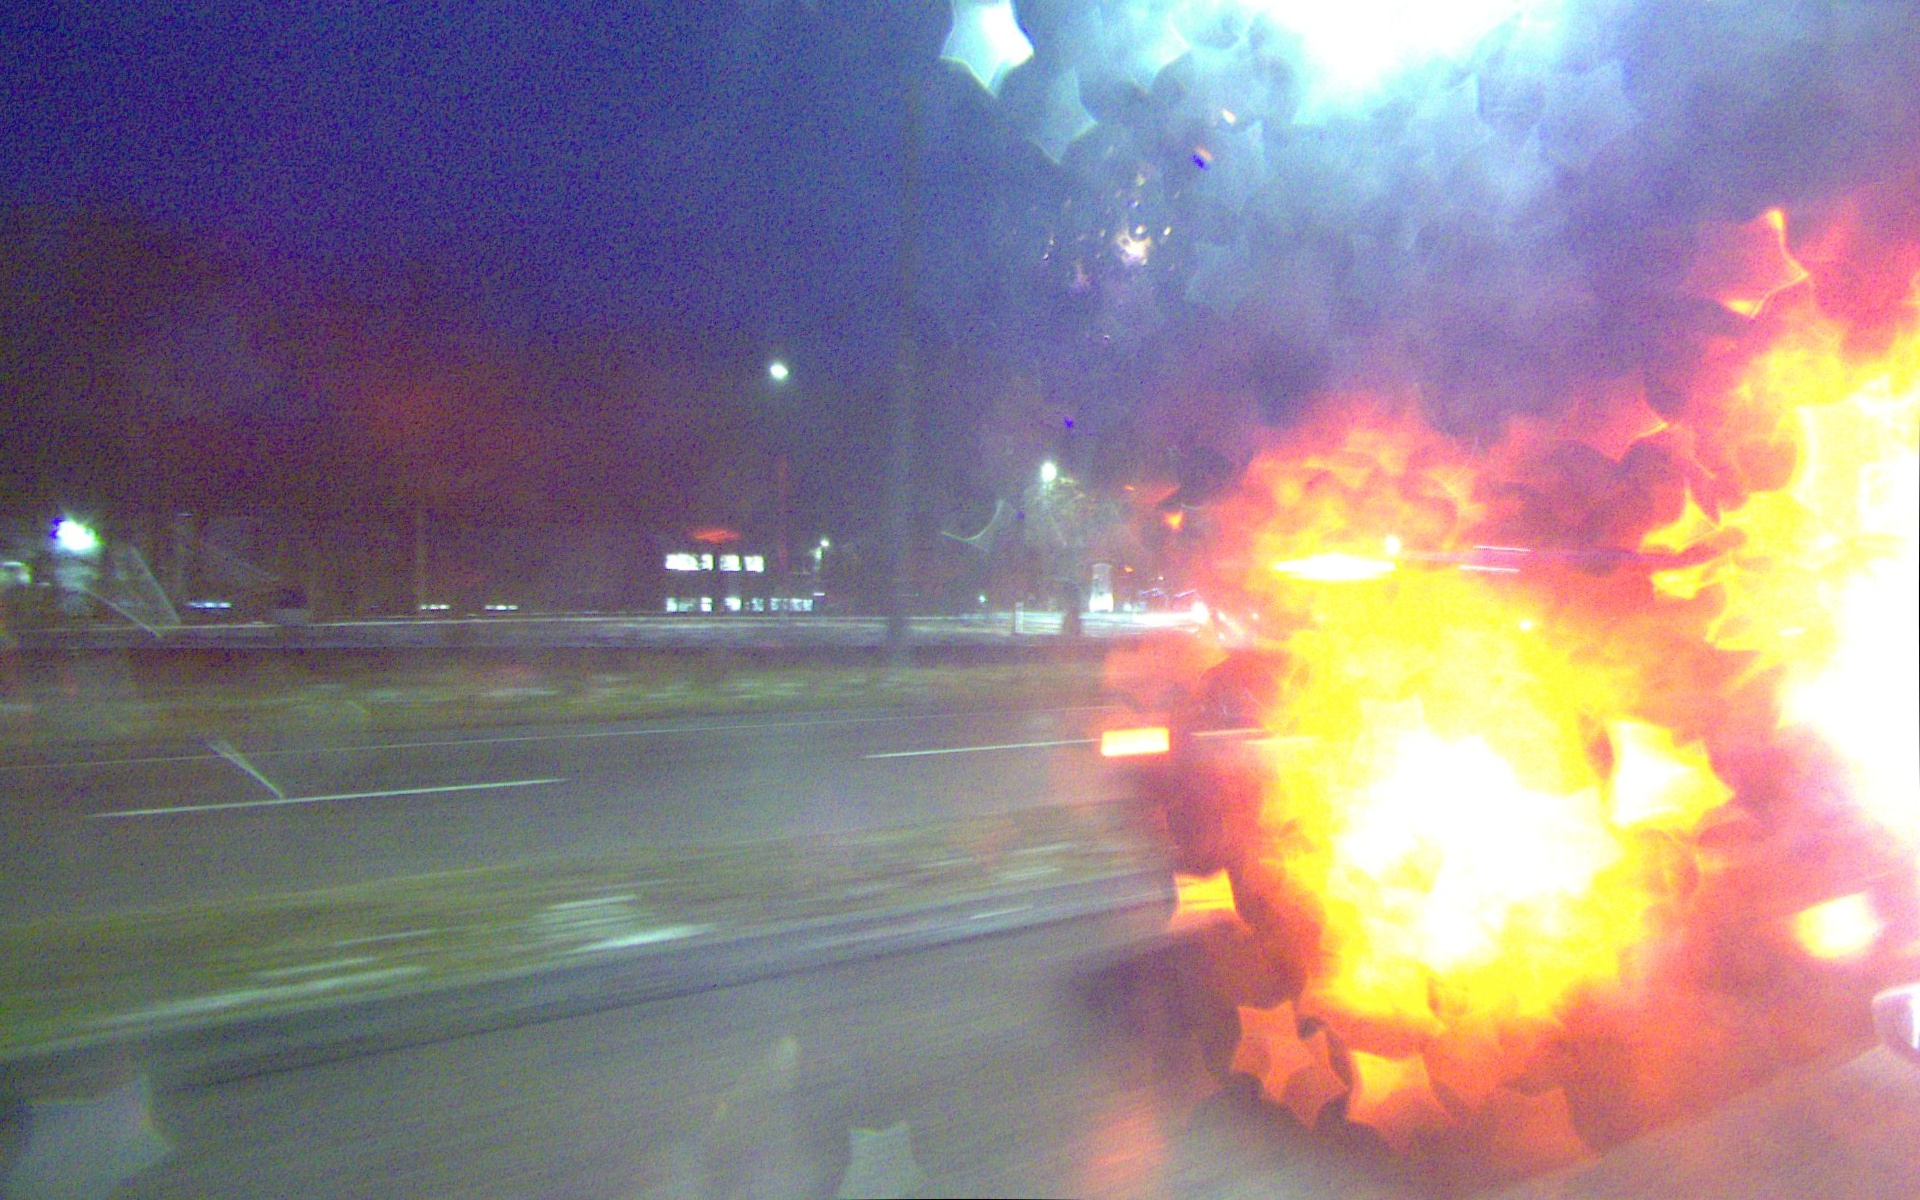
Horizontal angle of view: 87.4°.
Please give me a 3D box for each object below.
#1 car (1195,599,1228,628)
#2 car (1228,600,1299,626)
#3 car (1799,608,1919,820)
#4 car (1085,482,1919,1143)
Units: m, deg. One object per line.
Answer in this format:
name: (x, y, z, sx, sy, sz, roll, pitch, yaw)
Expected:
car: (14.433, 0.726, 57.549, 1.486, 1.538, 4.374, 2, 1, 18)
car: (18.746, 0.808, 62.112, 3.938, 1.539, 1.719, 1, 1, -20)
car: (8.922, 0.858, 8.263, 4.385, 1.531, 1.775, 1, -1, -31)
car: (2.869, 0.608, 4.636, 4.384, 1.806, 1.775, 1, 0, -31)
